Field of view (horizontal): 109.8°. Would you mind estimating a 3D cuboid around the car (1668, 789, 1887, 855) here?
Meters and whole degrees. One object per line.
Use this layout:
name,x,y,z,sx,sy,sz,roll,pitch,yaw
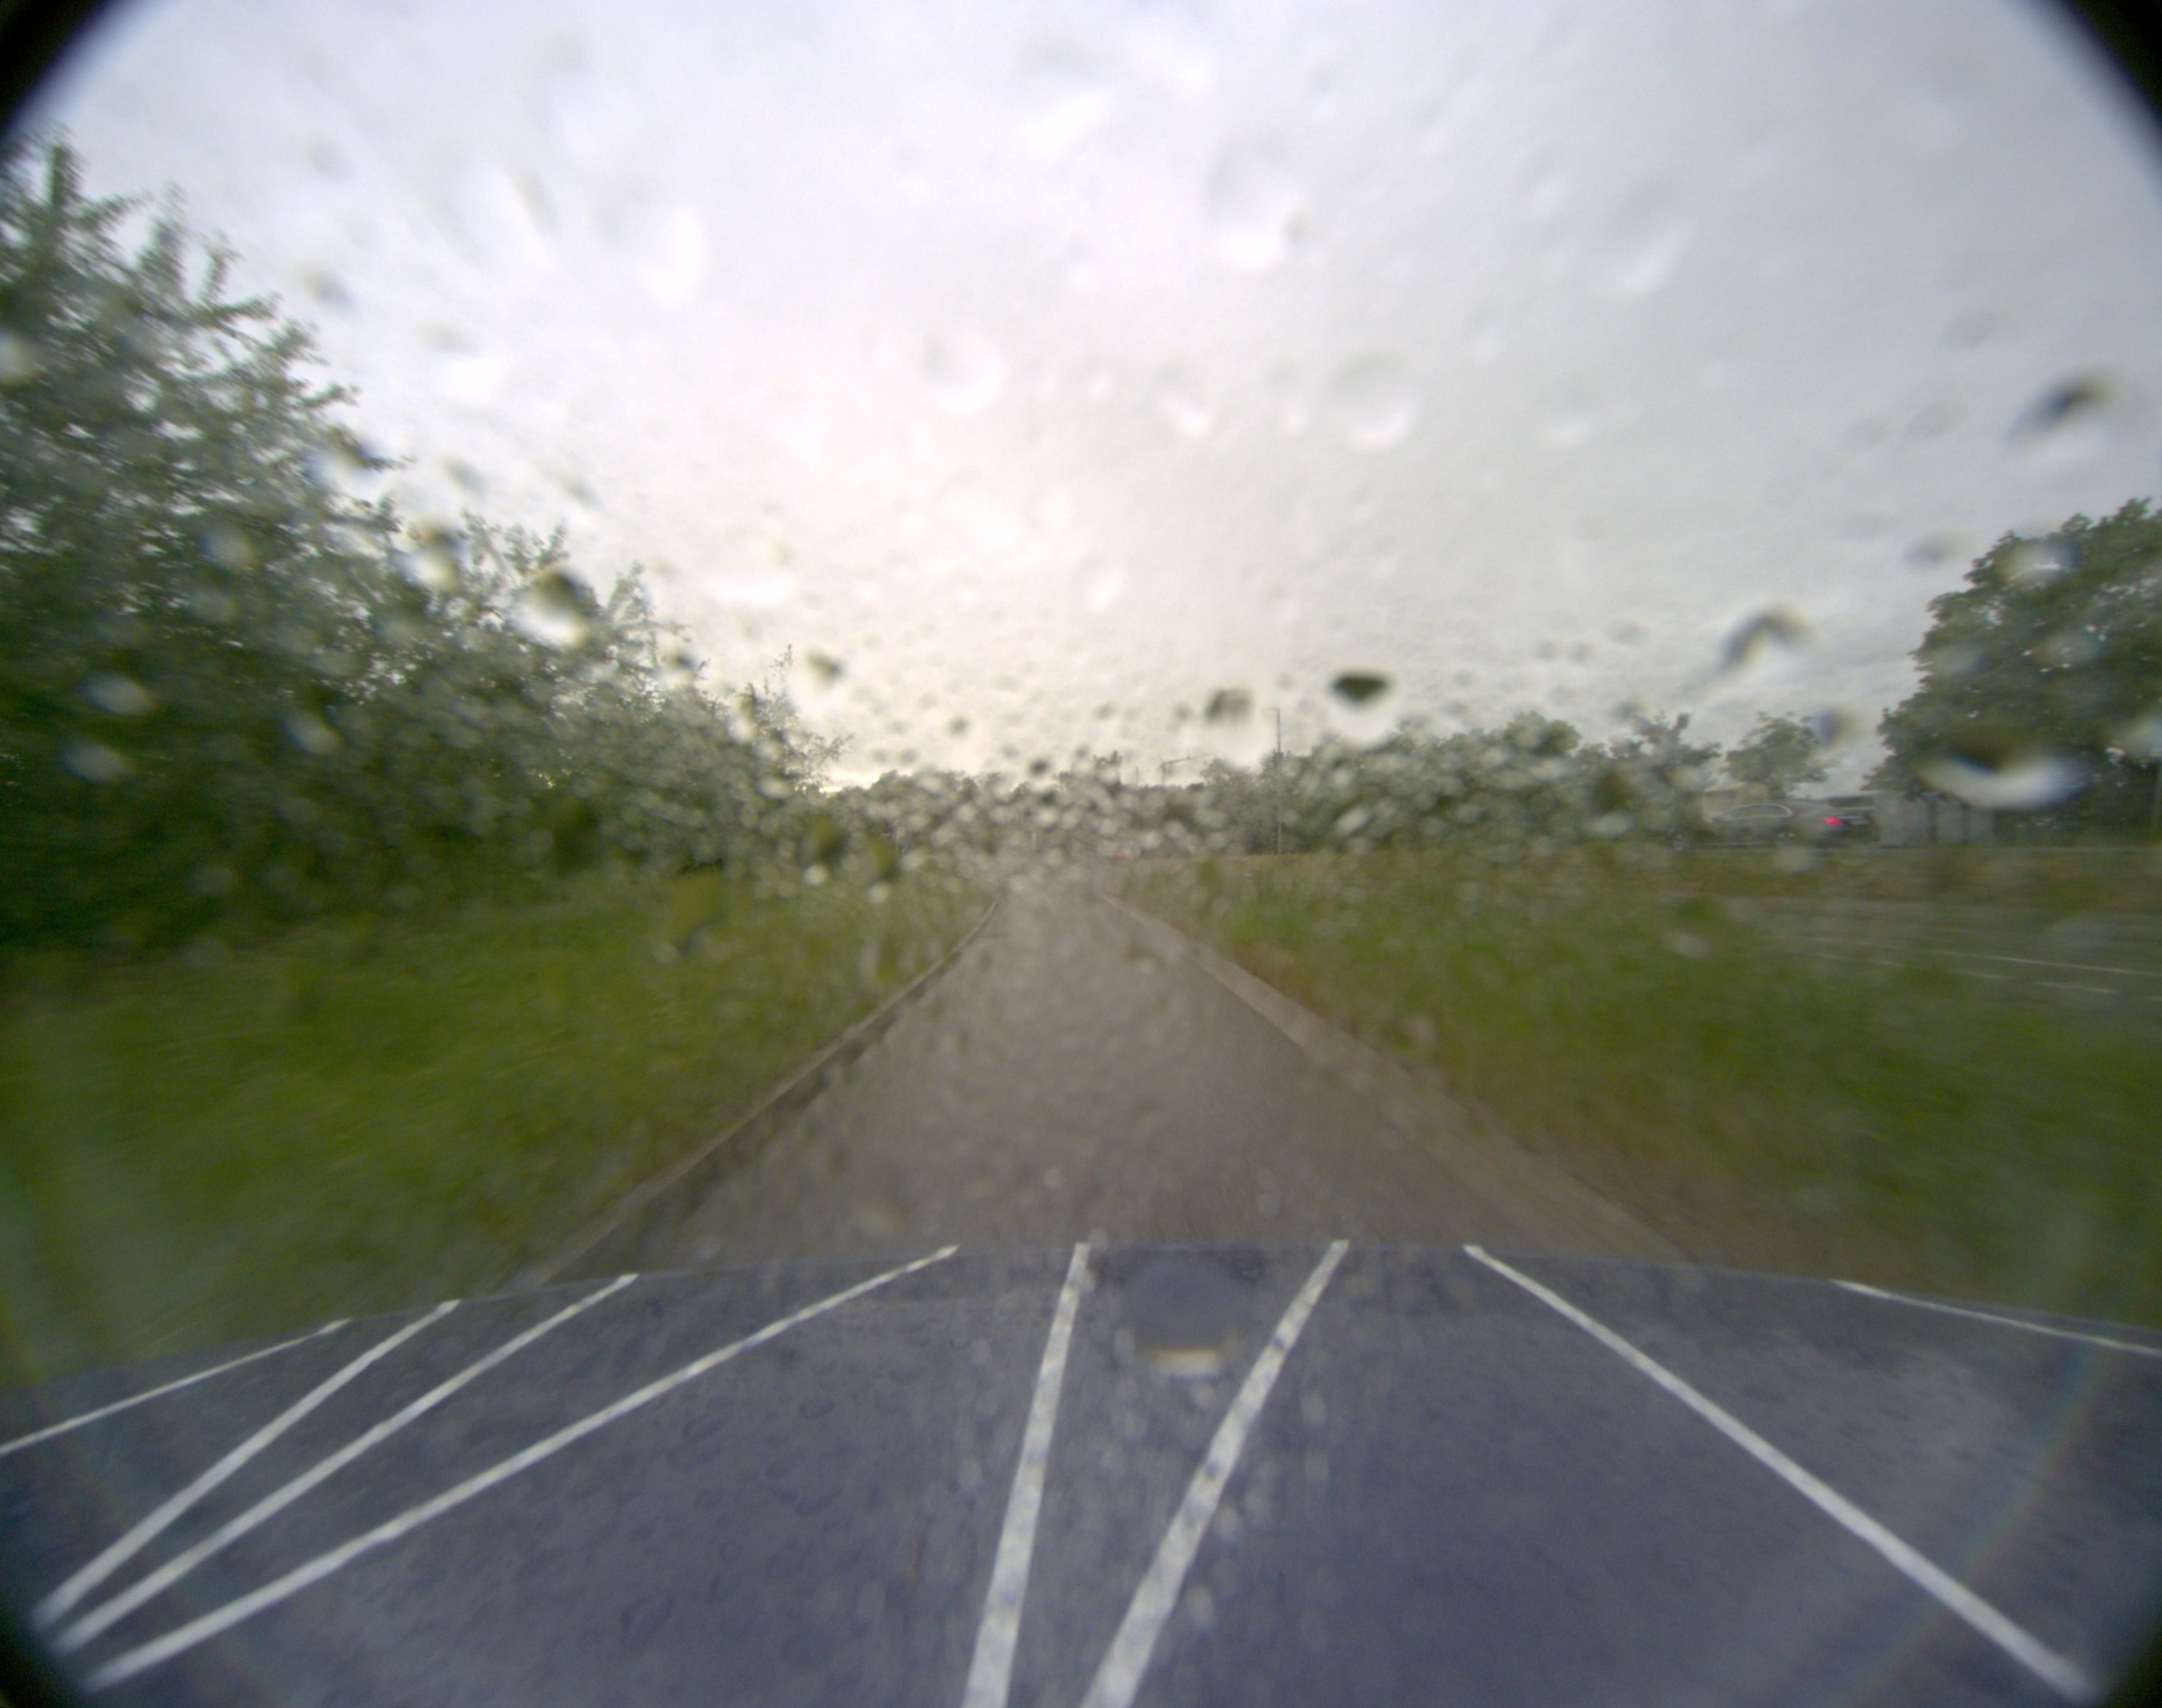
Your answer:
car,19.784,-0.827,21.906,1.697,1.559,4.538,-4,0,-9
